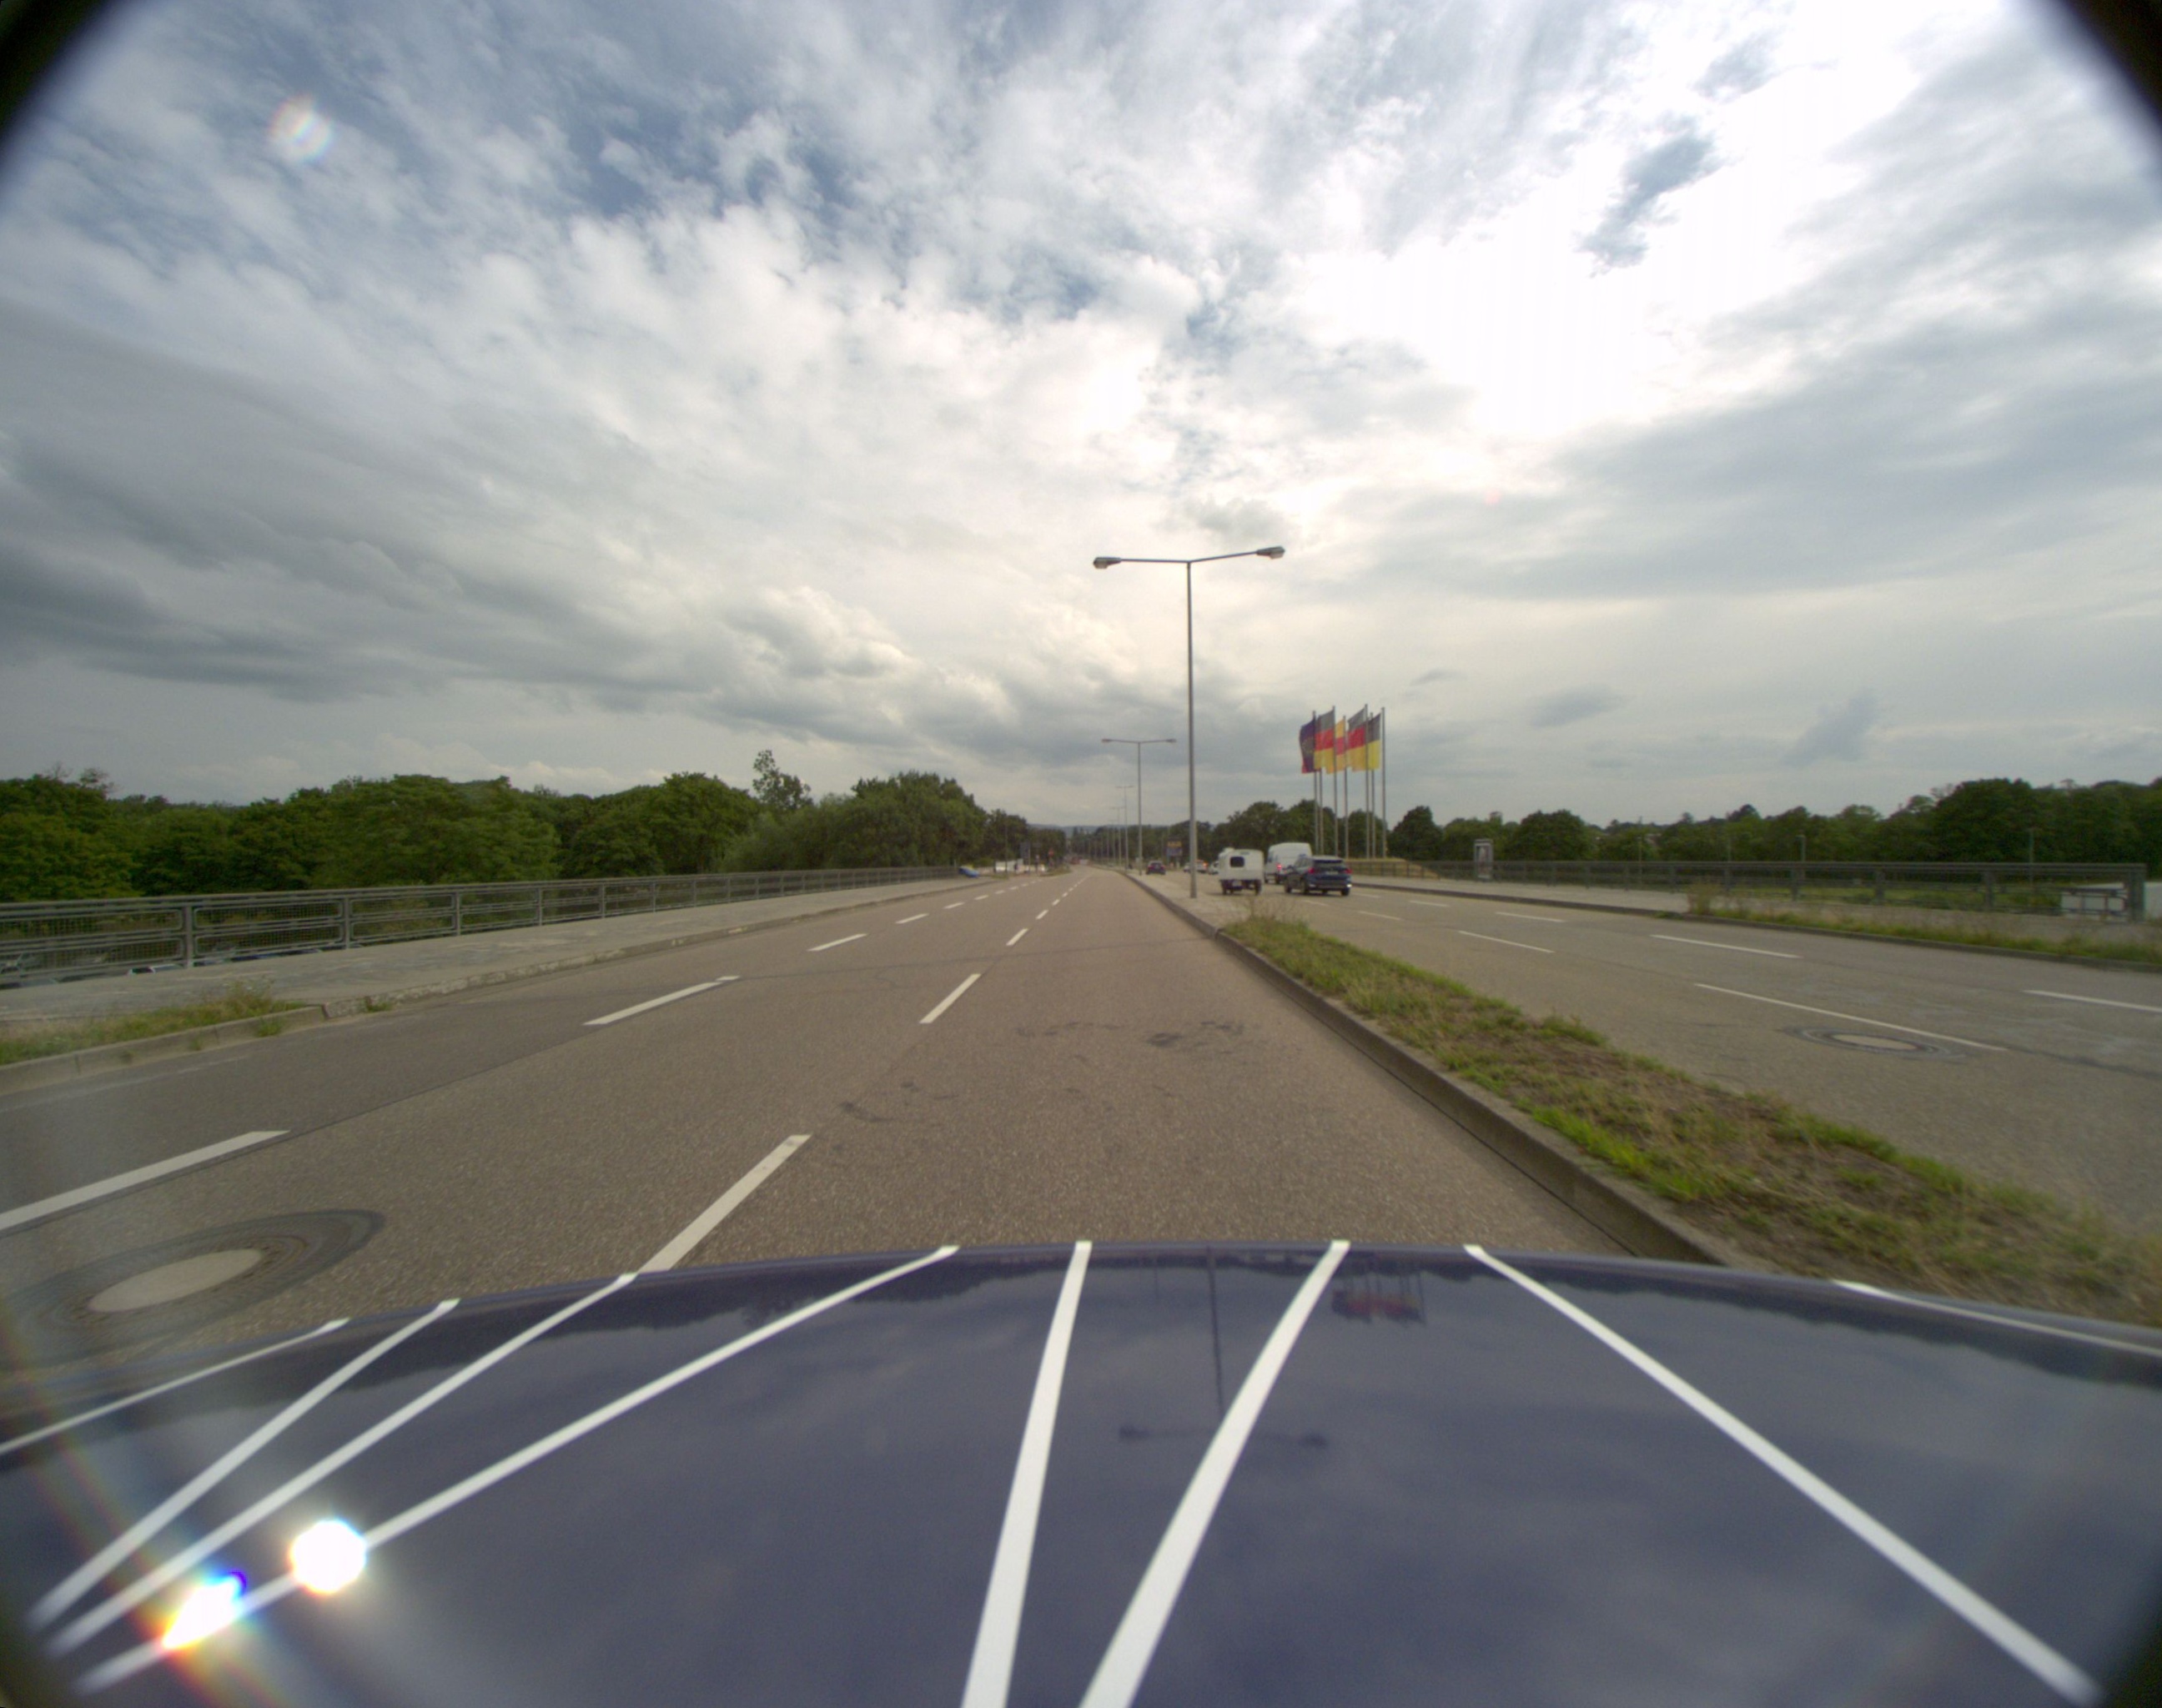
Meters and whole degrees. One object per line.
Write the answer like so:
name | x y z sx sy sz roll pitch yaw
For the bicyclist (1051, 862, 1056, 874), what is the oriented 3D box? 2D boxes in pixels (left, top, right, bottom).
bicyclist | -3.823 1.912 104.791 0.653 1.648 0.876 -2 0 -1

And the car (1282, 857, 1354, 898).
car | 9.714 0.917 31.496 1.751 1.576 4.587 1 0 3

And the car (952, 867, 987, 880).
car | -13.852 2.413 94.425 3.990 1.509 1.883 -2 0 29

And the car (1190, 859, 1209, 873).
car | 15.144 1.465 97.614 1.867 1.715 4.771 1 0 3

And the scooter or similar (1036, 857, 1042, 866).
scooter or similar | -5.846 1.023 105.508 0.589 1.217 1.203 -2 0 5

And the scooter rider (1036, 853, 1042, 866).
scooter rider | -5.856 0.748 105.508 0.588 1.680 0.744 -2 0 5

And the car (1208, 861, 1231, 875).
car | 14.793 1.473 81.550 1.742 1.472 4.472 1 0 2

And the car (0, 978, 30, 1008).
car | -64.690 8.246 44.699 3.993 1.564 2.002 -2 0 14

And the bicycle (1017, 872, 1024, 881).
bicycle | -7.317 2.689 91.800 0.578 1.016 1.976 2 -1 1

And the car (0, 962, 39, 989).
car | -76.817 8.726 54.245 2.004 1.564 3.989 -2 0 -42

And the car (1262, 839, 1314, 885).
car | 12.788 0.498 47.319 2.057 2.627 6.403 1 0 6

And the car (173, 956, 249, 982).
car | -62.616 8.301 54.706 3.993 1.564 2.002 -2 0 14

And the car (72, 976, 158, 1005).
car | -63.566 8.966 50.015 3.993 1.564 2.002 -2 0 14

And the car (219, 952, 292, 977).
car | -61.823 8.282 56.929 3.993 1.564 2.002 -2 0 14

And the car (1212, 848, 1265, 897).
car | 6.288 0.713 30.599 1.543 1.860 3.571 1 0 3

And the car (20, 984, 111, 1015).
car | -63.614 9.089 47.603 3.993 1.564 2.002 -2 0 14

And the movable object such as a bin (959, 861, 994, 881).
movable object such as a bin | -15.357 2.469 111.774 4.511 2.673 2.103 -2 0 6

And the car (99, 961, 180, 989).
car | -65.437 8.404 52.817 3.993 1.564 2.002 -2 0 14

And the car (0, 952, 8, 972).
car | -89.232 8.885 60.749 2.002 1.564 3.994 -2 0 -20

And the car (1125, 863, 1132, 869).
car | 12.629 3.161 201.246 1.767 1.432 4.178 1 -1 1

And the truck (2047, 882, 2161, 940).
truck | 90.870 4.861 66.818 14.019 4.318 3.025 -1 1 -19

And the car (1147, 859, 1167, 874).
car | 7.855 1.310 78.988 1.742 1.472 4.777 1 0 2

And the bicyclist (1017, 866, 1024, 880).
bicyclist | -7.335 2.271 91.776 0.666 1.649 0.805 -2 0 1
